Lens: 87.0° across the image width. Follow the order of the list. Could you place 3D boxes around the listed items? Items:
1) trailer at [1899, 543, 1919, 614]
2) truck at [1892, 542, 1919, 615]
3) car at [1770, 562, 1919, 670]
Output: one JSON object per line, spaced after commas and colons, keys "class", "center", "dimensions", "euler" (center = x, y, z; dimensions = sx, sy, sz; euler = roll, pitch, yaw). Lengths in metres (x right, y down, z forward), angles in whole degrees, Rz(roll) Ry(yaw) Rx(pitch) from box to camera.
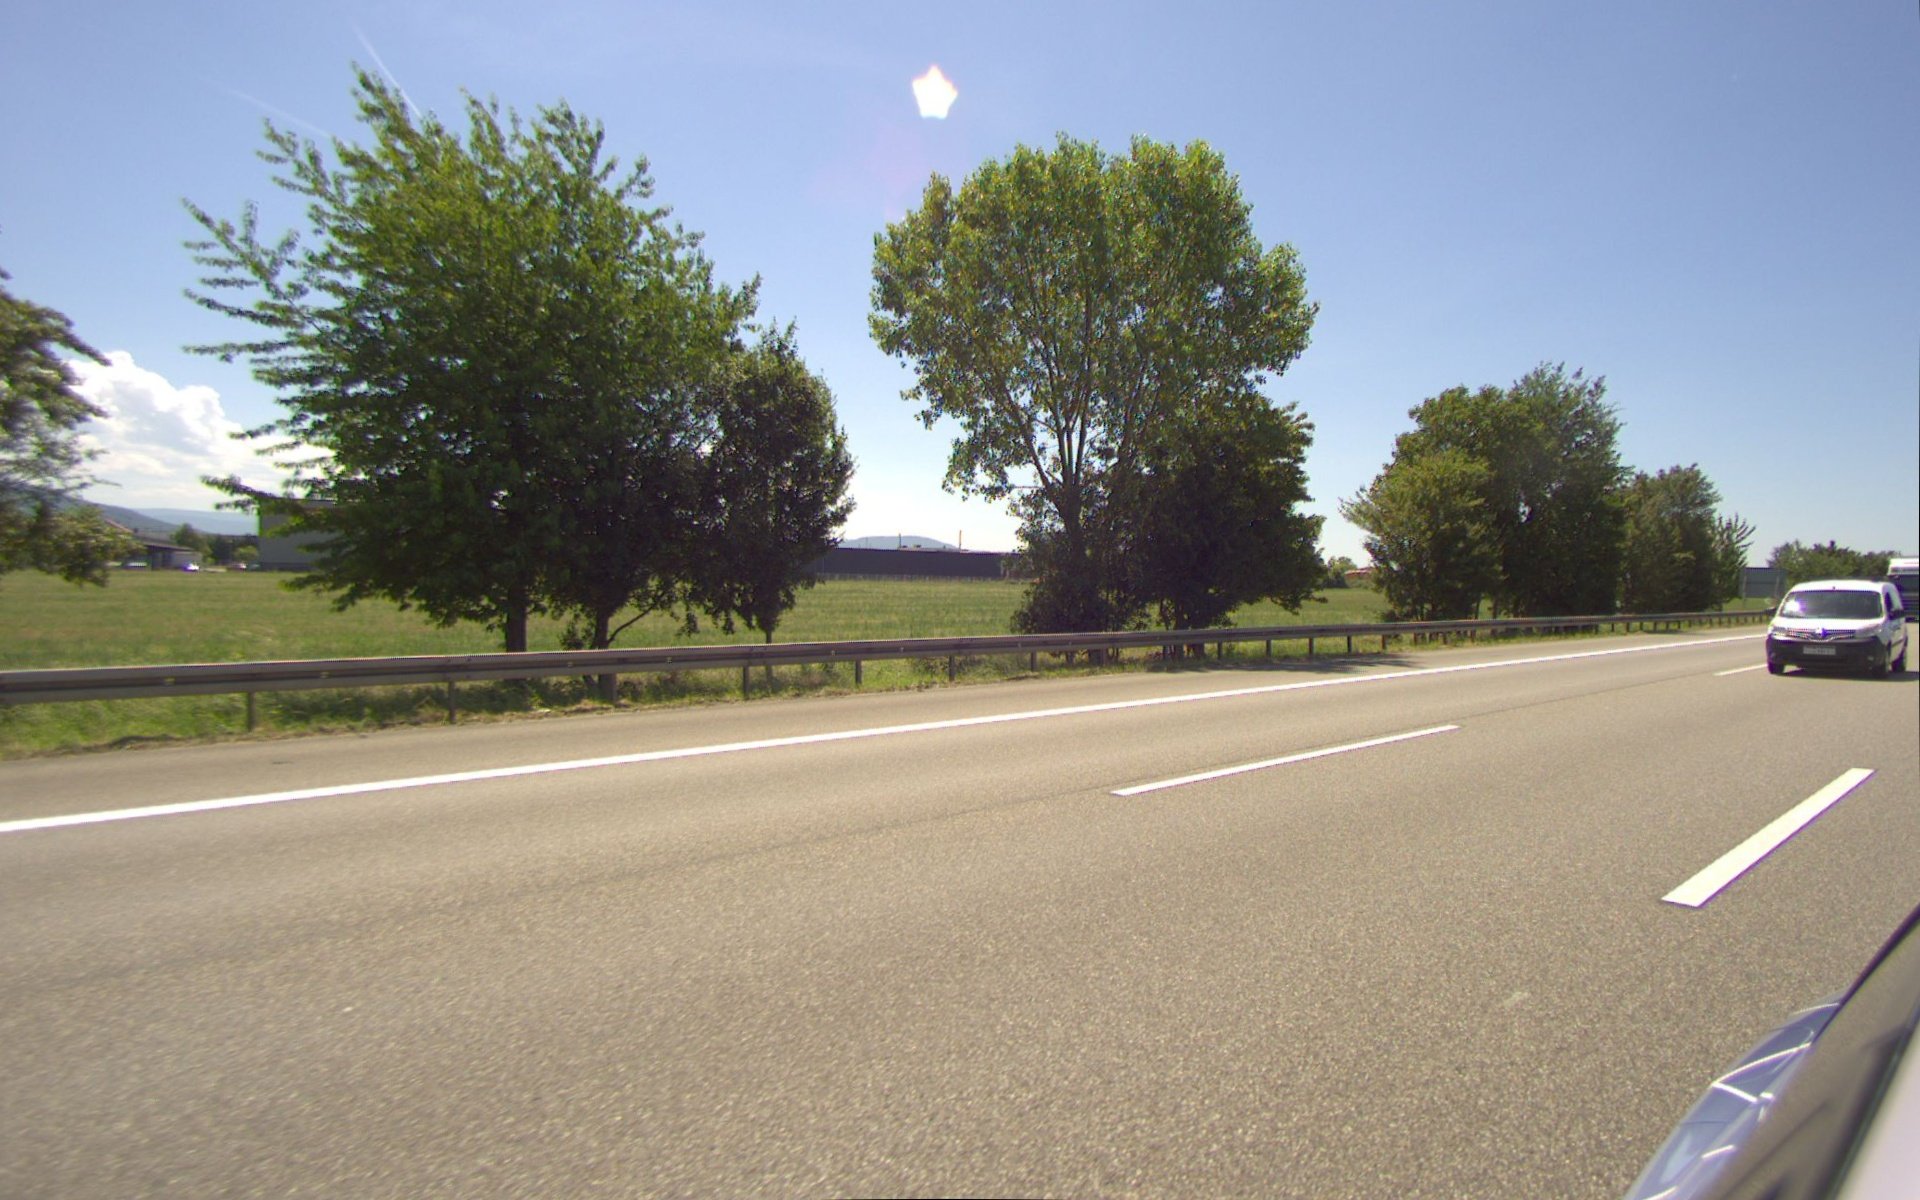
{"class": "trailer", "center": [64.819, -1.339, 66.663], "dimensions": [14.004, 4.359, 2.814], "euler": [0, 0, -41]}
{"class": "truck", "center": [60.168, -1.317, 62.662], "dimensions": [7.067, 4.359, 2.815], "euler": [0, 0, -41]}
{"class": "car", "center": [17.604, 0.273, 19.908], "dimensions": [4.621, 1.886, 1.856], "euler": [0, 0, -42]}
